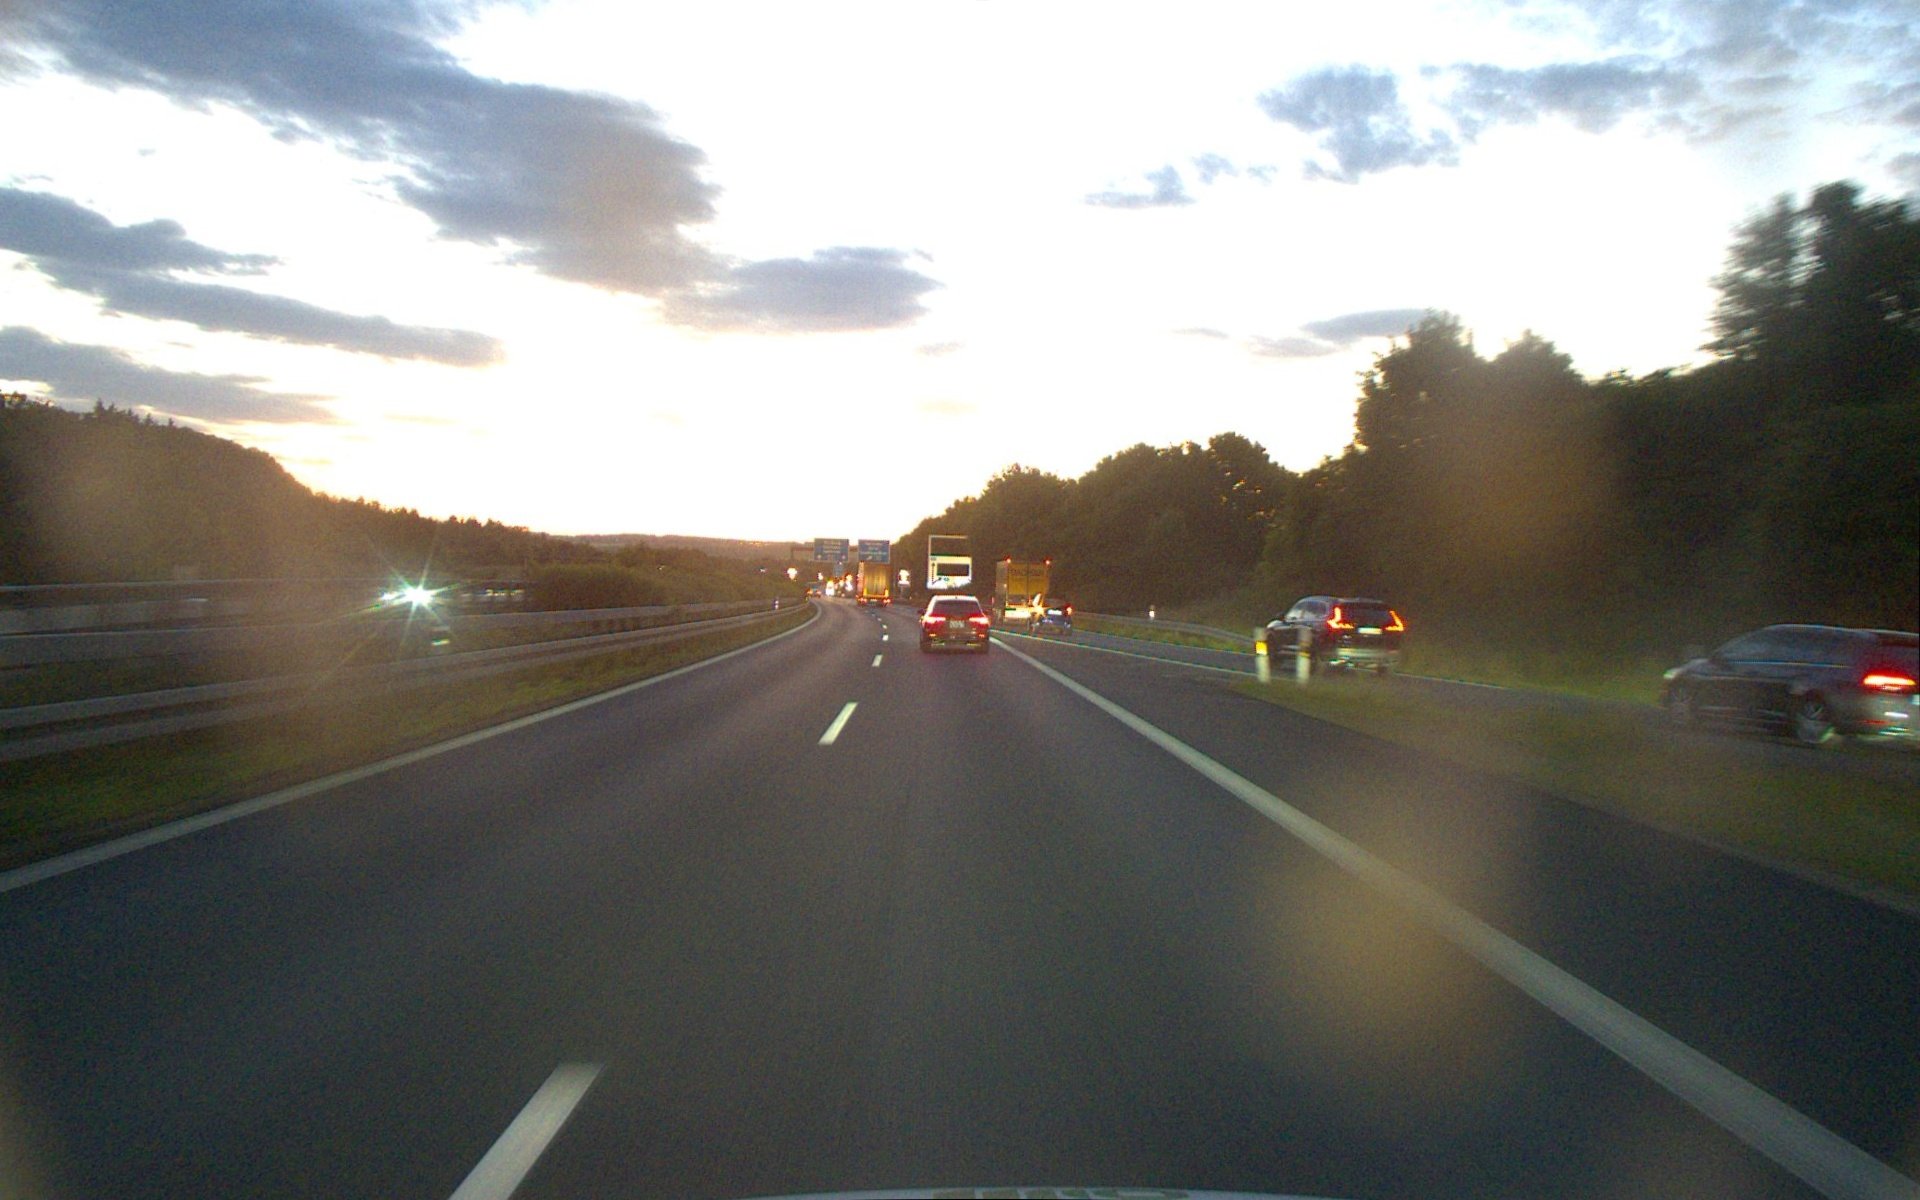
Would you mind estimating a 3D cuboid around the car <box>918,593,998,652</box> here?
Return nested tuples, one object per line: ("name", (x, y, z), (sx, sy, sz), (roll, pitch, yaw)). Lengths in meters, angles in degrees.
("car", (-0.097, 0.570, 43.910), (1.877, 1.467, 3.997), (1, 0, -4))

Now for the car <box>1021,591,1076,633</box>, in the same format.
("car", (3.466, 0.472, 64.907), (1.580, 1.583, 3.313), (1, 0, -7))

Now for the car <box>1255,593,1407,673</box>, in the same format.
("car", (8.239, 0.689, 37.220), (1.763, 1.674, 5.153), (0, 0, -7))

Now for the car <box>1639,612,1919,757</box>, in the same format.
("car", (10.821, 0.998, 20.841), (1.765, 1.517, 5.107), (4, 0, -8))

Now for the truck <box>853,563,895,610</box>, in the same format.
("truck", (-8.455, -1.218, 160.951), (3.442, 4.376, 9.877), (1, 0, -6))

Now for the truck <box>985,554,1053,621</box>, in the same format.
("truck", (2.780, -0.600, 80.078), (2.225, 3.023, 6.622), (3, 0, -6))
